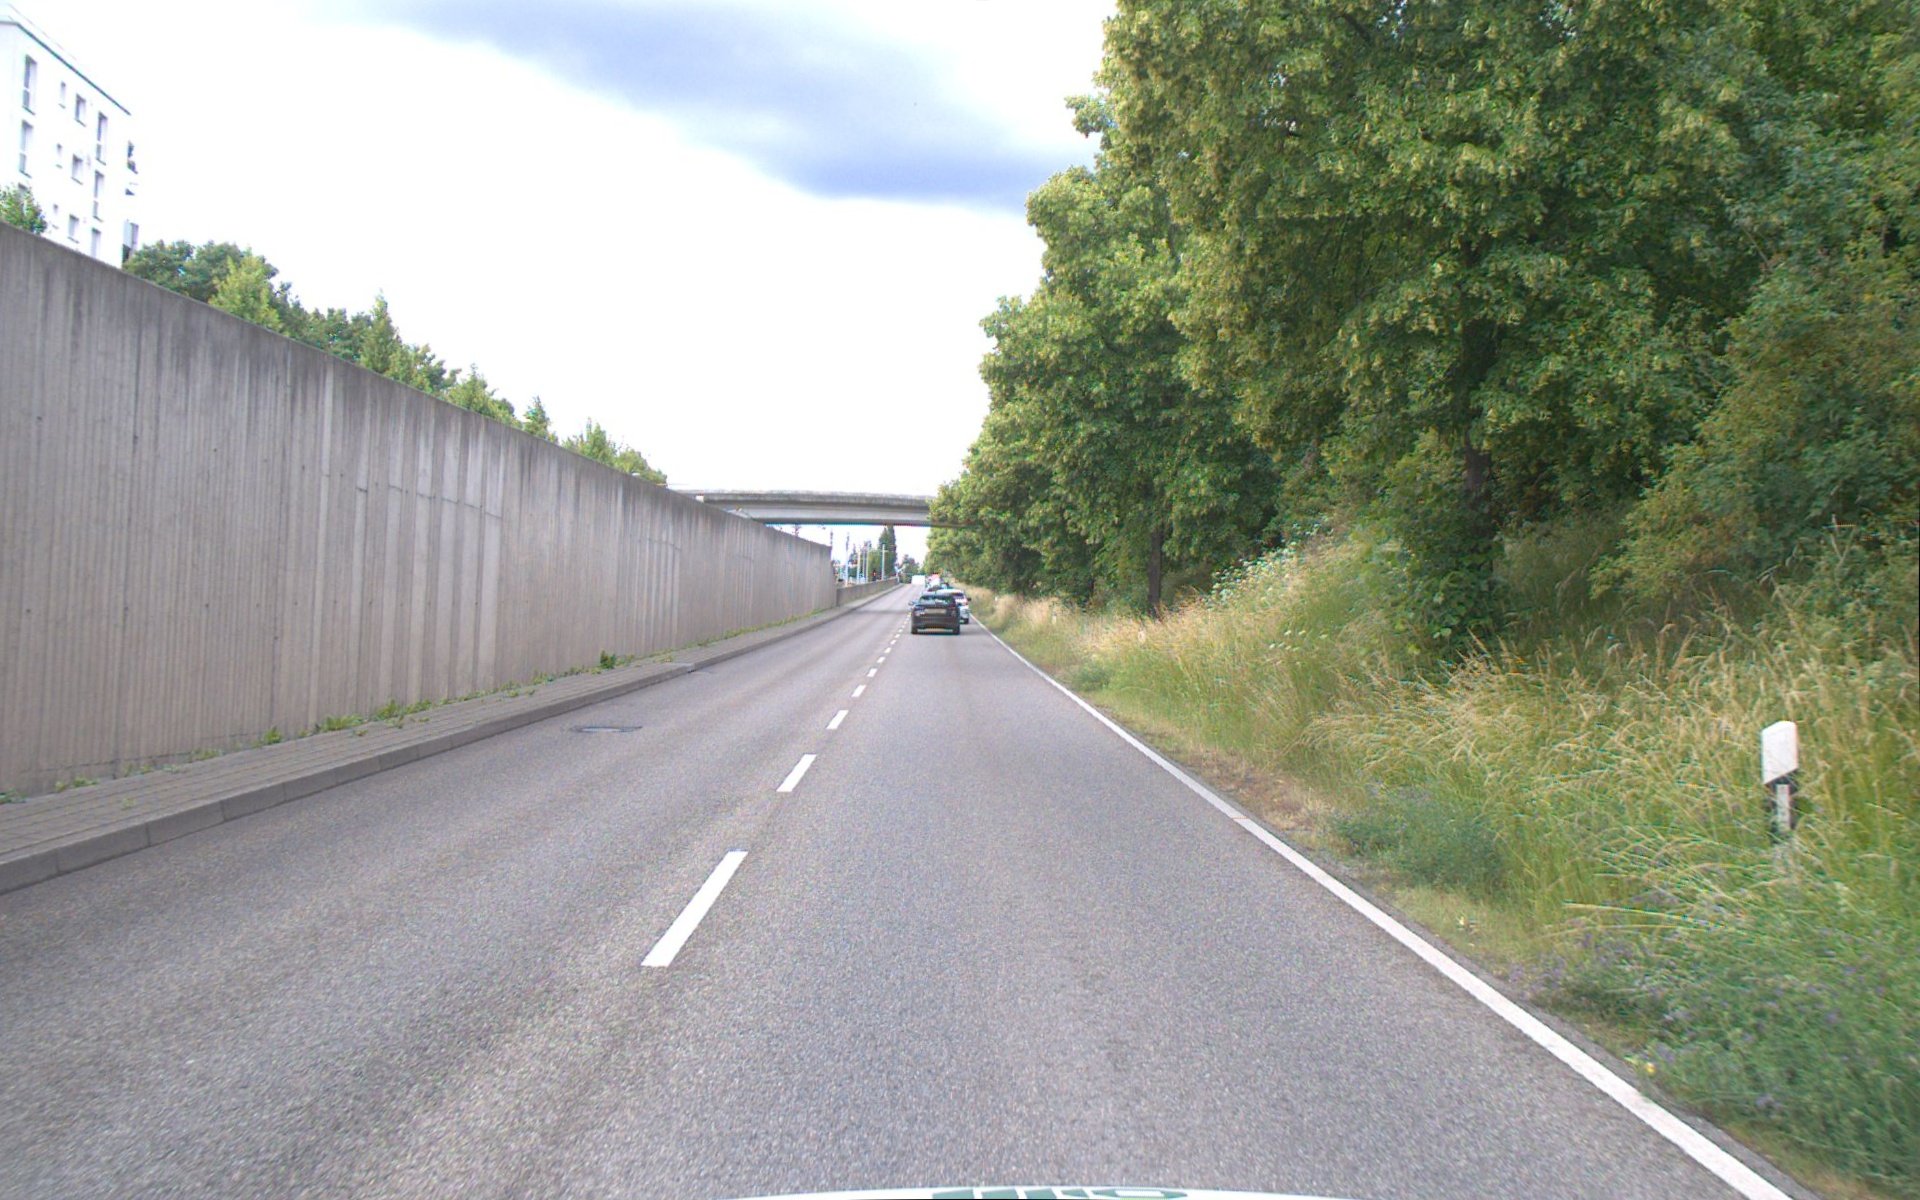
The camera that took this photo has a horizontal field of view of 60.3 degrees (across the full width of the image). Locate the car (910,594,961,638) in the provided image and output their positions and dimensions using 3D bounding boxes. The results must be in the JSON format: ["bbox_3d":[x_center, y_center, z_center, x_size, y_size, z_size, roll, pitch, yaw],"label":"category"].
[{"bbox_3d":[-0.883,0.541,59.066,1.745,1.493,3.999,0,0,-1],"label":"car"}]

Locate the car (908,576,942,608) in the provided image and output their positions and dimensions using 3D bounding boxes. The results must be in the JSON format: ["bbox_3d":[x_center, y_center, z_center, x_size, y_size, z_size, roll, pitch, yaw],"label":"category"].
[{"bbox_3d":[-2.051,-0.456,97.676,1.953,1.771,3.999,1,0,-1],"label":"car"}]

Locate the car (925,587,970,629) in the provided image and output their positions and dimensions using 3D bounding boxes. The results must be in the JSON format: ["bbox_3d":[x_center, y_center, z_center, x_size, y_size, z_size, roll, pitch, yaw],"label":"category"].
[{"bbox_3d":[-0.568,0.346,73.873,1.953,1.783,3.999,0,0,-1],"label":"car"}]
